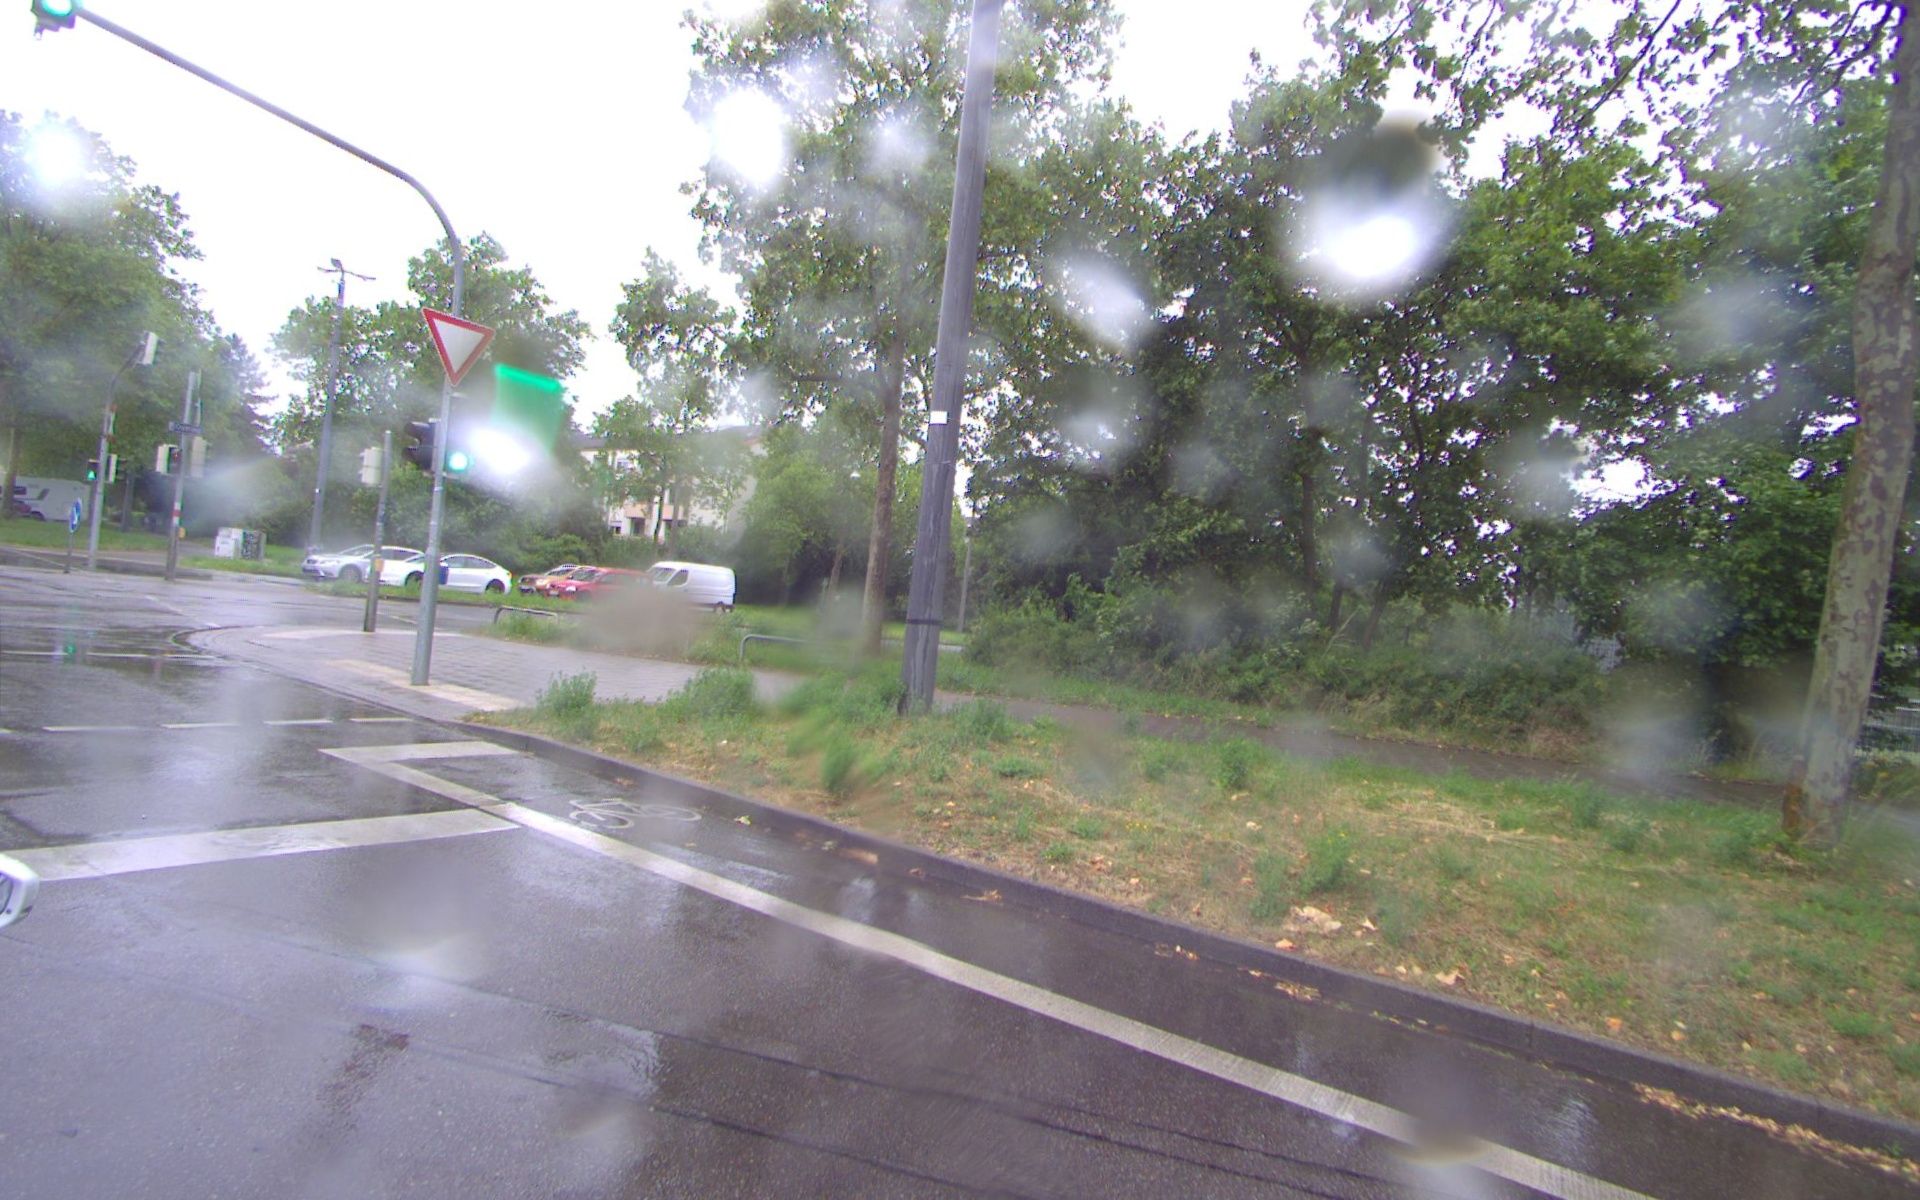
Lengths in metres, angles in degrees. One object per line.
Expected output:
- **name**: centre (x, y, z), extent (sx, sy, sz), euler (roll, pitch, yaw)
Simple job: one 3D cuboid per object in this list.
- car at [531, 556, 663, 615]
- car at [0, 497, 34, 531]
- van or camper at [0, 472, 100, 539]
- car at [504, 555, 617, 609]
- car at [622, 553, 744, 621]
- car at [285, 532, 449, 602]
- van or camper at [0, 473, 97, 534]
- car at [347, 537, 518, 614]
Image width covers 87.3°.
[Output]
- **car**: centre (-13.834, -0.519, 38.630), extent (1.760, 1.625, 4.615), euler (6, -2, 29)
- **car**: centre (-55.819, -5.145, 57.135), extent (4.424, 1.736, 1.980), euler (9, -2, -37)
- **van or camper**: centre (-56.907, -5.905, 60.718), extent (7.296, 3.215, 3.226), euler (9, -2, -40)
- **car**: centre (-16.417, -0.694, 41.515), extent (1.759, 1.625, 4.069), euler (7, -2, 26)
- **car**: centre (-12.983, -0.545, 47.563), extent (1.966, 2.419, 5.619), euler (6, -2, 29)
- **car**: centre (-20.139, -1.062, 34.384), extent (1.900, 1.710, 4.407), euler (7, -2, 26)
- **van or camper**: centre (-63.198, -6.656, 67.533), extent (7.388, 3.215, 3.231), euler (9, -2, -36)
- **car**: centre (-17.152, -0.742, 32.984), extent (1.900, 1.849, 4.608), euler (7, -2, 26)
